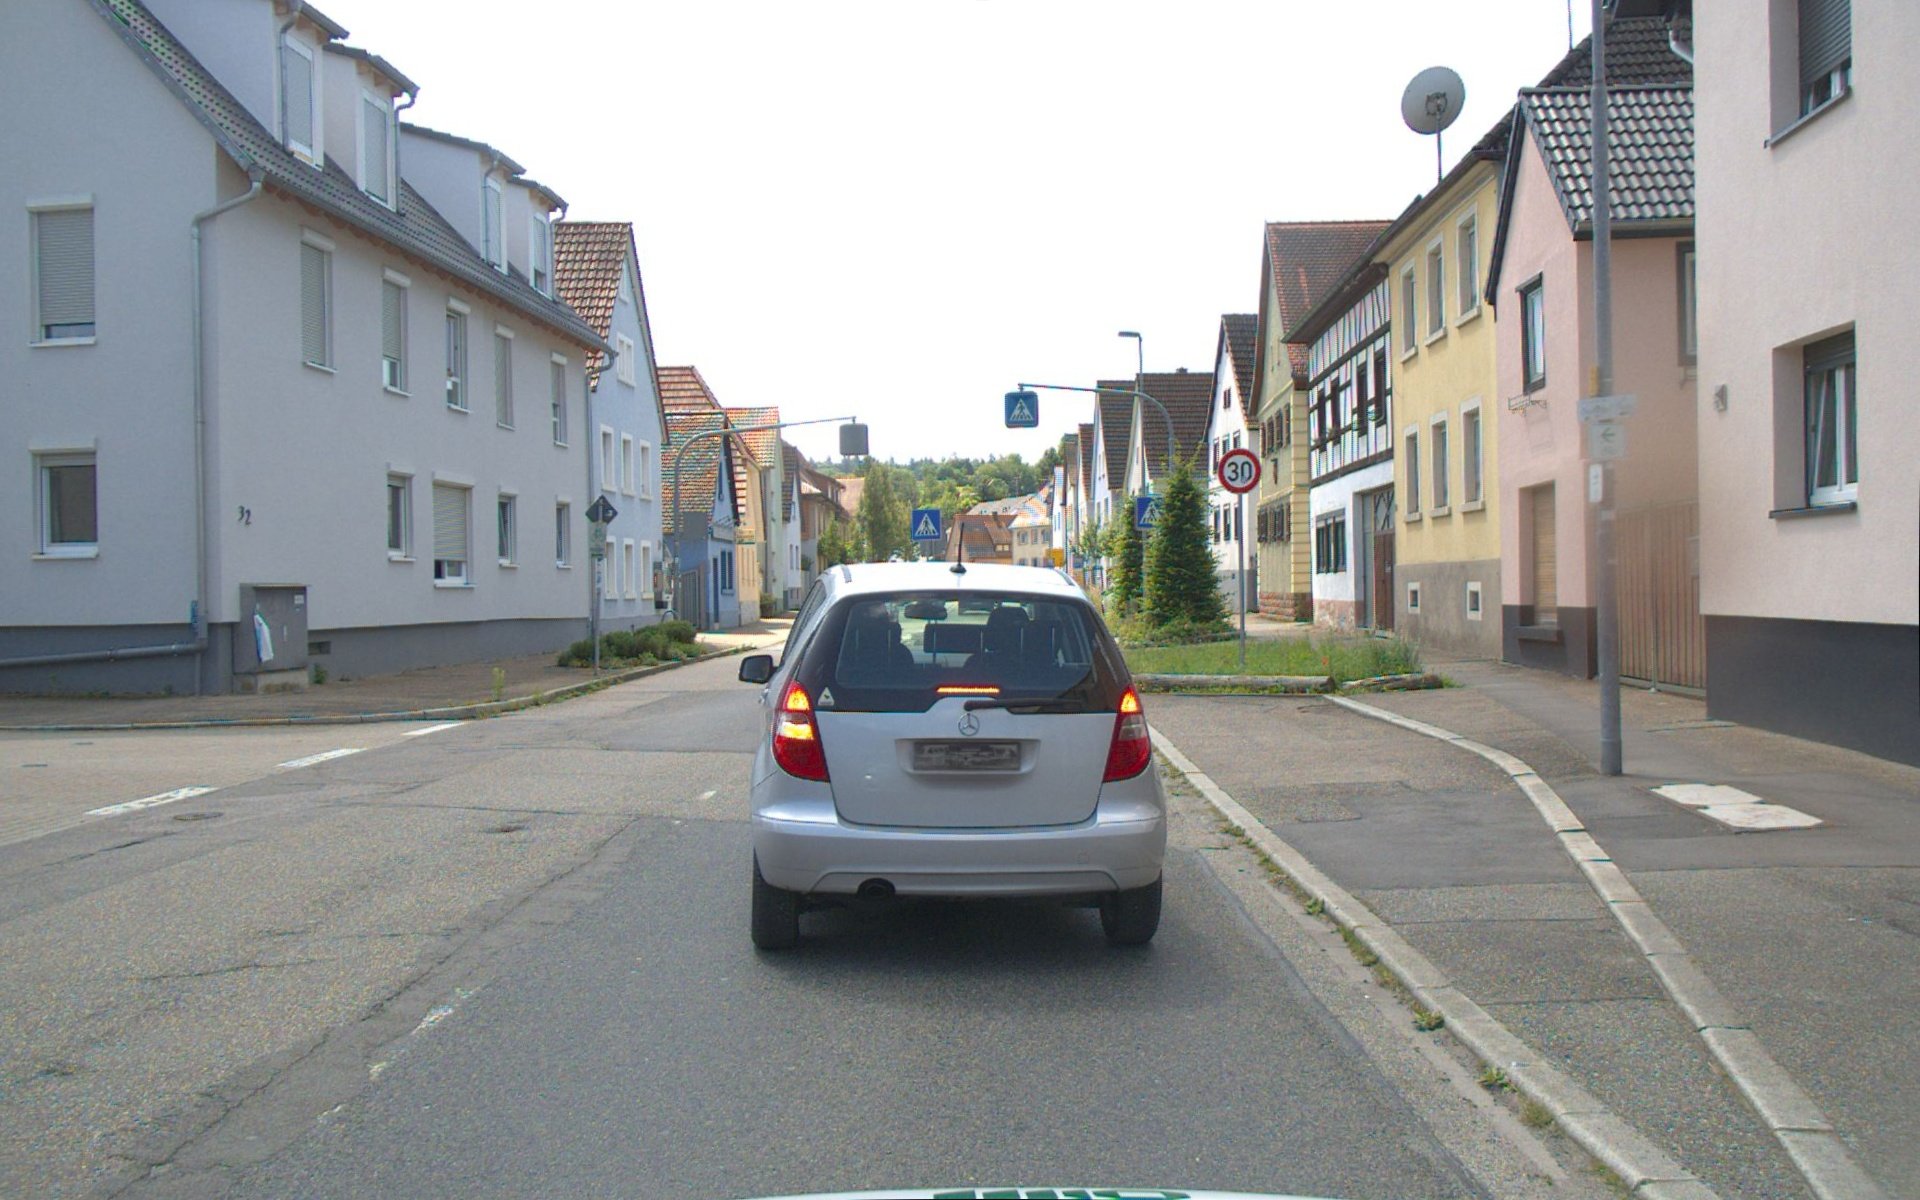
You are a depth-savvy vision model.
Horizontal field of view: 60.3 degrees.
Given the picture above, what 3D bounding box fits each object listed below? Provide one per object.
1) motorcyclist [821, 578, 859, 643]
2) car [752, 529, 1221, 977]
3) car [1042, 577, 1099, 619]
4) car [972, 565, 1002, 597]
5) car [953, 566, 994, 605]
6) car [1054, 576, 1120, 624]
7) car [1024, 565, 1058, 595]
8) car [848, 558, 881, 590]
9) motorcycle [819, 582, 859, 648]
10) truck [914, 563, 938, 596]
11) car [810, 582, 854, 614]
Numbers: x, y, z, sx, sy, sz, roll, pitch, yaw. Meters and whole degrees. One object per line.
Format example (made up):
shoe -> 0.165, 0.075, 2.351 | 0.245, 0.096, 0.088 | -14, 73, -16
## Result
motorcyclist -> -2.962, 0.260, 40.997 | 0.878, 1.582, 0.807 | 0, 1, 0
car -> -0.101, 0.583, 8.139 | 1.776, 1.672, 3.723 | 1, 0, -7
car -> 4.203, -0.048, 63.393 | 1.953, 1.534, 3.999 | 0, -1, 0
car -> 1.774, -1.276, 111.641 | 1.953, 2.049, 3.999 | 0, -1, 0
car -> 0.648, -0.694, 82.098 | 1.953, 1.848, 3.999 | 0, -1, -1
car -> 4.311, 0.035, 56.724 | 1.953, 1.534, 3.999 | 0, -1, 0
car -> 5.212, -1.268, 106.993 | 1.953, 1.848, 3.999 | 0, -1, -1
car -> -5.345, -1.424, 92.762 | 1.633, 1.624, 3.999 | 0, -1, 0
motorcycle -> -2.984, 0.354, 40.846 | 0.862, 1.588, 1.967 | 0, 1, -1
truck -> -2.795, -1.670, 139.116 | 1.953, 2.581, 6.737 | 0, -1, -1
car -> -5.762, -0.065, 74.262 | 1.955, 1.344, 3.704 | 0, -1, -5
